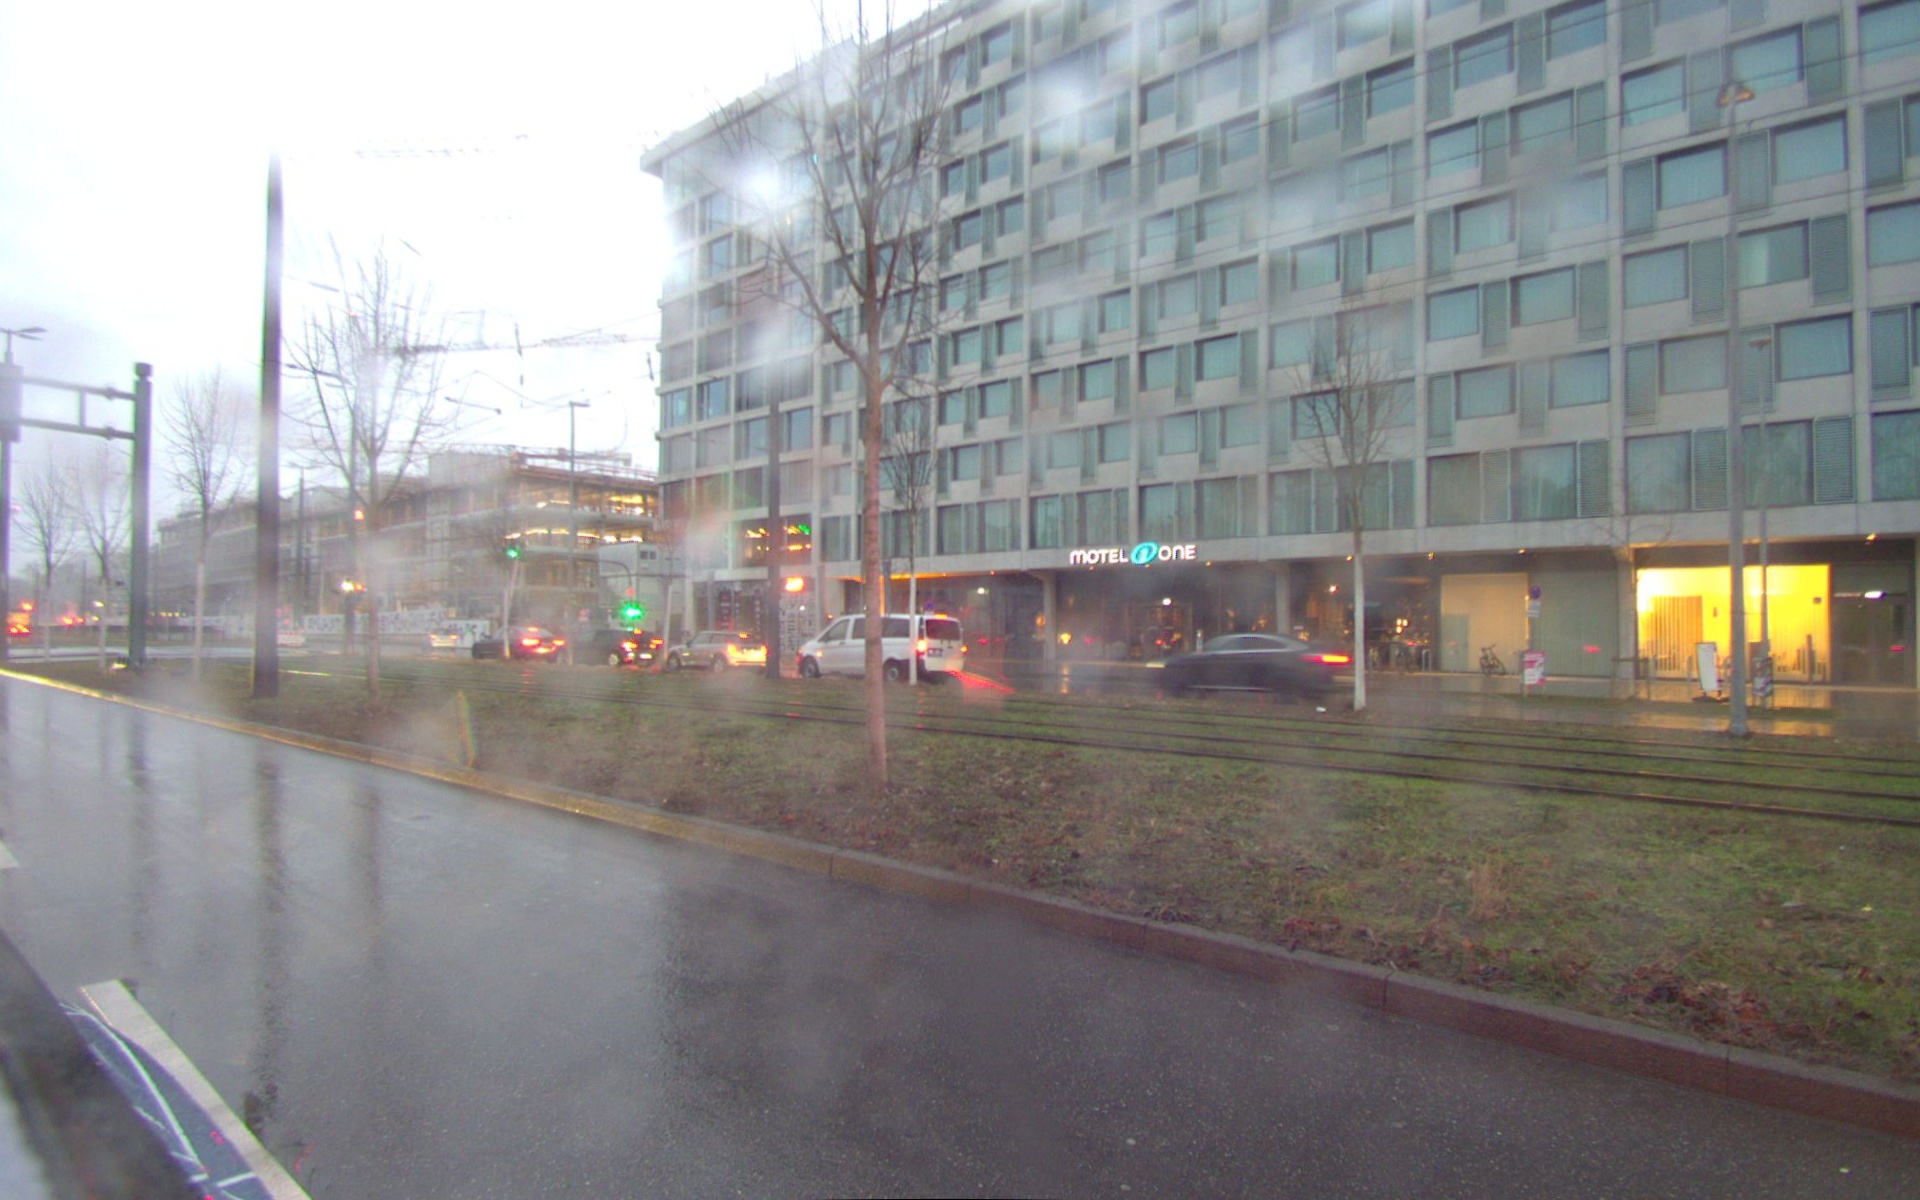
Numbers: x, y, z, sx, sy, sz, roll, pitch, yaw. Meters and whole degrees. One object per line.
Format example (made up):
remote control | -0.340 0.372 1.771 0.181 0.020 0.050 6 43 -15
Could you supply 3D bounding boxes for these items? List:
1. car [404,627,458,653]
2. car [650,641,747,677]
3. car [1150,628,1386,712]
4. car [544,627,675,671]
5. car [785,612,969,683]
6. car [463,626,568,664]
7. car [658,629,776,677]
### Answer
car | -35.565 2.658 67.959 1.874 1.732 4.920 2 -2 -44
car | -11.835 2.619 45.717 4.790 1.528 1.876 -2 -2 41
car | 7.013 1.523 23.398 4.914 1.732 1.876 -2 -2 41
car | -12.768 1.744 36.872 4.425 1.508 1.983 -1 -2 26
car | -2.313 1.243 27.112 5.114 1.732 1.876 -2 -3 41
car | -18.081 1.790 41.061 5.032 1.479 1.972 -2 -3 42
car | -7.824 1.669 32.450 3.704 1.442 1.876 -1 -3 41
